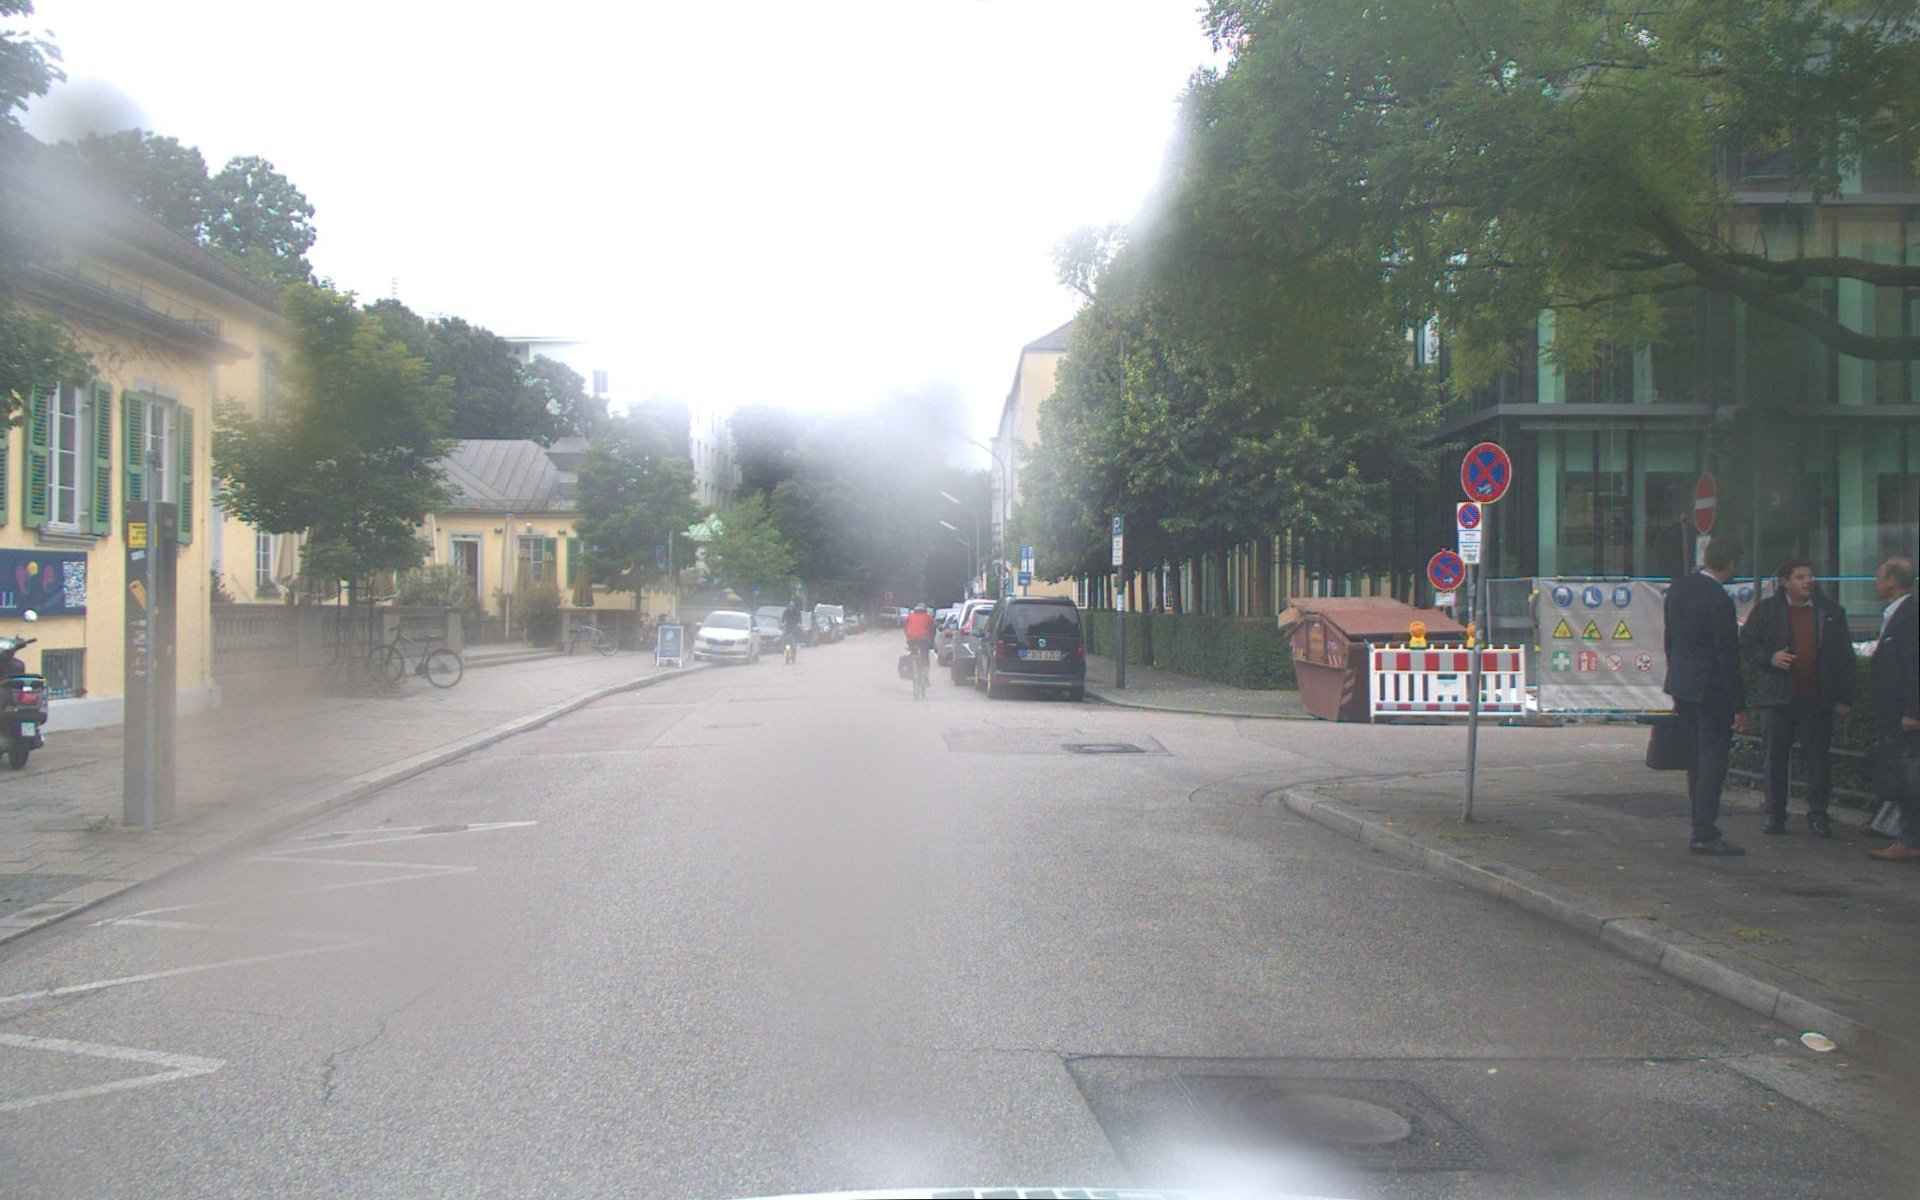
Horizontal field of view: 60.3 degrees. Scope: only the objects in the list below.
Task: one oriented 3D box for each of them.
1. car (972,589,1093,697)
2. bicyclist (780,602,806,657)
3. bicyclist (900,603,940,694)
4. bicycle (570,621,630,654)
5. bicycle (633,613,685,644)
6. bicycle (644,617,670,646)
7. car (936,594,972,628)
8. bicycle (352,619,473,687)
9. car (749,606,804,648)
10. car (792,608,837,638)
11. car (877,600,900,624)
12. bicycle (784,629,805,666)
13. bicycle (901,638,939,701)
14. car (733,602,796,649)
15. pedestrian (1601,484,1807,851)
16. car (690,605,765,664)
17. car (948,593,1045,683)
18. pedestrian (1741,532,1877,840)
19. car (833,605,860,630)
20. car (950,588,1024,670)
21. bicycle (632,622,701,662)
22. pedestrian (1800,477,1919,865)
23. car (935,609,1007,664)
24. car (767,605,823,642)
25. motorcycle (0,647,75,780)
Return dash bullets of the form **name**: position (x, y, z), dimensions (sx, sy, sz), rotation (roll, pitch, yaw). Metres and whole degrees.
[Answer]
- **car**: position (1.271, 0.749, 30.788), dimensions (1.726, 1.855, 4.135), rotation (1, 0, -5)
- **bicyclist**: position (-4.838, 0.847, 48.013), dimensions (0.728, 1.603, 0.976), rotation (0, 0, -5)
- **bicyclist**: position (-0.690, 0.834, 28.335), dimensions (0.658, 1.524, 1.094), rotation (0, -2, -2)
- **bicycle**: position (-10.559, 1.097, 48.490), dimensions (1.596, 0.942, 0.645), rotation (1, -2, -30)
- **bicycle**: position (-10.070, 0.964, 55.395), dimensions (1.600, 1.022, 0.616), rotation (1, -2, -35)
- **bicycle**: position (-11.057, 1.160, 60.439), dimensions (0.609, 1.022, 1.619), rotation (1, -2, 1)
- **car**: position (-0.416, 0.683, 104.844), dimensions (1.954, 2.096, 4.619), rotation (1, 0, -4)
- **bicycle**: position (-9.705, 0.930, 29.344), dimensions (1.892, 1.118, 0.614), rotation (2, -1, -2)
- **car**: position (-7.374, 1.089, 66.696), dimensions (1.954, 1.631, 3.997), rotation (1, -1, -3)
- **car**: position (-7.434, 1.166, 84.623), dimensions (1.953, 1.512, 3.999), rotation (0, 0, 0)
- **car**: position (-6.671, 1.079, 153.924), dimensions (1.954, 2.135, 3.998), rotation (3, 0, -3)
- **bicycle**: position (-4.802, 1.361, 47.978), dimensions (0.609, 1.022, 2.137), rotation (0, 0, -6)
- **bicycle**: position (-0.694, 1.173, 28.227), dimensions (0.609, 1.022, 2.139), rotation (0, -2, -2)
- **car**: position (-7.239, 0.928, 61.643), dimensions (1.953, 1.677, 4.653), rotation (0, 0, -2)
- **pedestrian**: position (4.623, 0.398, 10.344), dimensions (0.728, 2.172, 1.054), rotation (0, 0, -6)
- **car**: position (-6.851, 0.994, 49.051), dimensions (1.699, 1.609, 3.786), rotation (3, -1, -2)
- **car**: position (0.718, 0.764, 35.578), dimensions (1.825, 1.825, 4.507), rotation (0, 0, -2)
- **pedestrian**: position (5.684, 0.544, 11.054), dimensions (0.728, 1.941, 1.054), rotation (-1, -1, 30)
- **car**: position (-7.928, 1.198, 116.011), dimensions (1.774, 1.712, 3.998), rotation (0, 0, -3)
- **car**: position (0.637, 0.703, 41.794), dimensions (1.714, 1.977, 4.226), rotation (0, 0, -1)
- **bicycle**: position (-7.866, 1.128, 44.436), dimensions (0.610, 1.021, 2.137), rotation (3, 0, 28)
- **pedestrian**: position (5.670, 0.396, 9.838), dimensions (0.728, 2.172, 1.054), rotation (0, 0, -6)
- **car**: position (0.266, 1.020, 47.308), dimensions (1.825, 1.465, 4.253), rotation (1, 0, -2)
- **car**: position (-7.337, 1.036, 73.725), dimensions (1.952, 1.512, 4.001), rotation (2, 0, 1)
- **motorcycle**: position (-8.845, 1.029, 15.497), dimensions (0.554, 1.120, 1.811), rotation (2, -1, -41)
